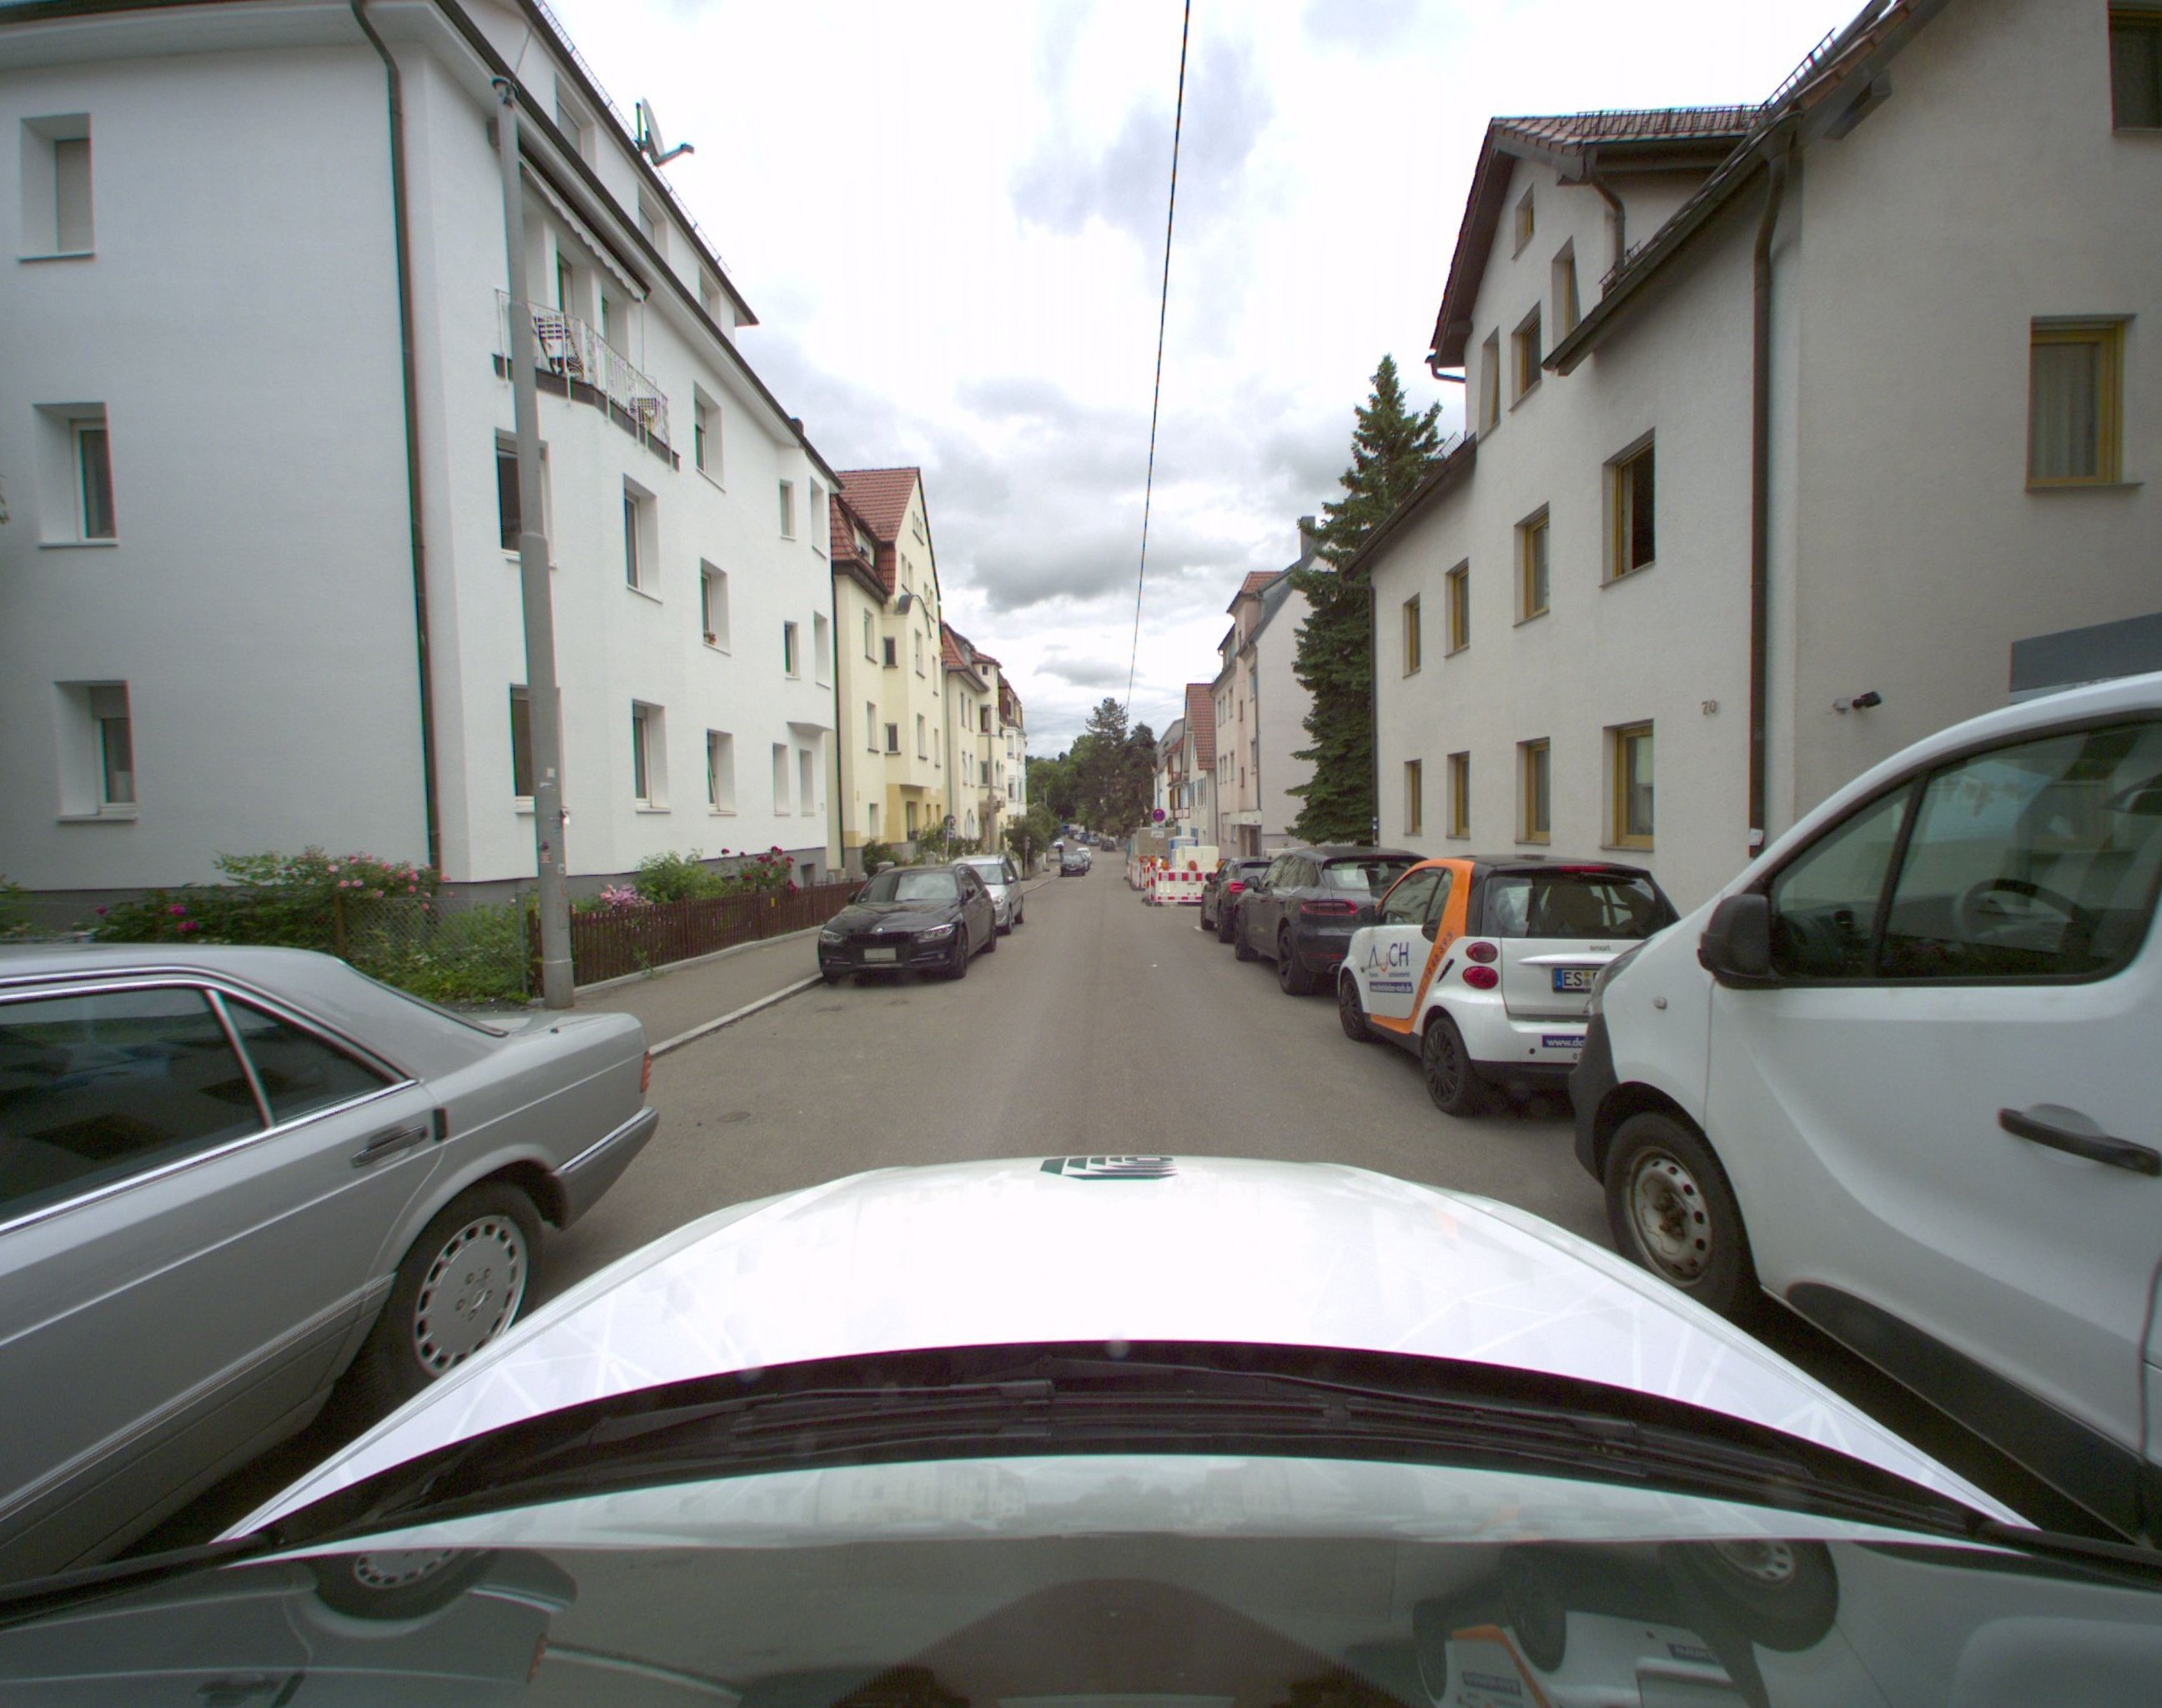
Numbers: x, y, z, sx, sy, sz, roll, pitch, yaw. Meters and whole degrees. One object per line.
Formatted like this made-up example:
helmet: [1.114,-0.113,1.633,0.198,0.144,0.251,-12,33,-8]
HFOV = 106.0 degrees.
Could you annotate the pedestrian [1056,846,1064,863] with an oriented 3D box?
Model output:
pedestrian: [-2.412,0.096,93.845,0.787,1.932,0.920,-1,1,4]

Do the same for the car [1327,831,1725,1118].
car: [2.905,0.658,5.945,1.481,1.596,2.792,0,0,2]

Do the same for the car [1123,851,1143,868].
car: [5.069,0.515,79.454,1.719,1.448,3.882,-1,1,1]

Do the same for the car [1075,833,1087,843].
car: [-0.061,-2.811,139.340,1.633,1.537,3.523,-1,4,-7]

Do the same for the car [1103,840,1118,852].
car: [4.197,-1.128,116.544,1.632,1.483,3.524,0,4,-6]

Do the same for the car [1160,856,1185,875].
car: [7.784,0.975,69.449,1.683,1.519,3.881,-1,0,1]

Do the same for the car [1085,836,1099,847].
car: [1.742,-1.935,128.538,1.633,1.483,3.523,-1,4,-7]

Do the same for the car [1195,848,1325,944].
car: [3.211,0.676,15.348,1.708,1.565,4.075,0,0,2]

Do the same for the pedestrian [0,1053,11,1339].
pedestrian: [-4.175,0.697,2.509,0.809,1.884,0.852,-2,0,24]

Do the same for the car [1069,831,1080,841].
car: [-1.118,-3.224,144.964,1.633,1.537,3.523,-1,4,-7]

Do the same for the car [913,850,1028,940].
car: [-2.227,0.786,17.489,1.839,1.631,4.285,-2,0,0]

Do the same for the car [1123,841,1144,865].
car: [5.577,-0.165,86.341,1.973,2.362,4.278,-1,1,1]

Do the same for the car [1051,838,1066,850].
car: [-3.463,-1.566,125.997,1.673,1.656,3.849,-3,3,-11]

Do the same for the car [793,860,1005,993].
car: [-2.337,0.864,11.731,1.838,1.457,4.506,-3,0,2]

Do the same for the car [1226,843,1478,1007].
car: [3.051,0.675,10.209,1.707,1.596,4.499,0,0,0]

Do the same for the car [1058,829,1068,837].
car: [-3.481,-4.130,159.369,1.633,1.537,3.523,-1,4,-7]

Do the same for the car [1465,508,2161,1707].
car: [2.649,0.469,0.897,1.898,2.030,5.735,0,0,2]

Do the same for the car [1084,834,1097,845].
car: [1.490,-2.384,133.095,1.633,1.483,3.523,-1,4,-7]

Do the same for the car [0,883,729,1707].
car: [-2.625,0.854,1.187,1.838,1.413,5.064,-2,0,2]

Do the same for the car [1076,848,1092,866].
car: [0.394,0.327,90.104,1.666,1.656,3.865,-2,3,1]

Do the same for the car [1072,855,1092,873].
car: [0.088,0.827,71.754,1.636,1.416,3.984,-3,0,1]

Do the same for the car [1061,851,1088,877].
car: [-0.511,0.735,61.252,1.840,1.815,4.542,-3,0,-1]
